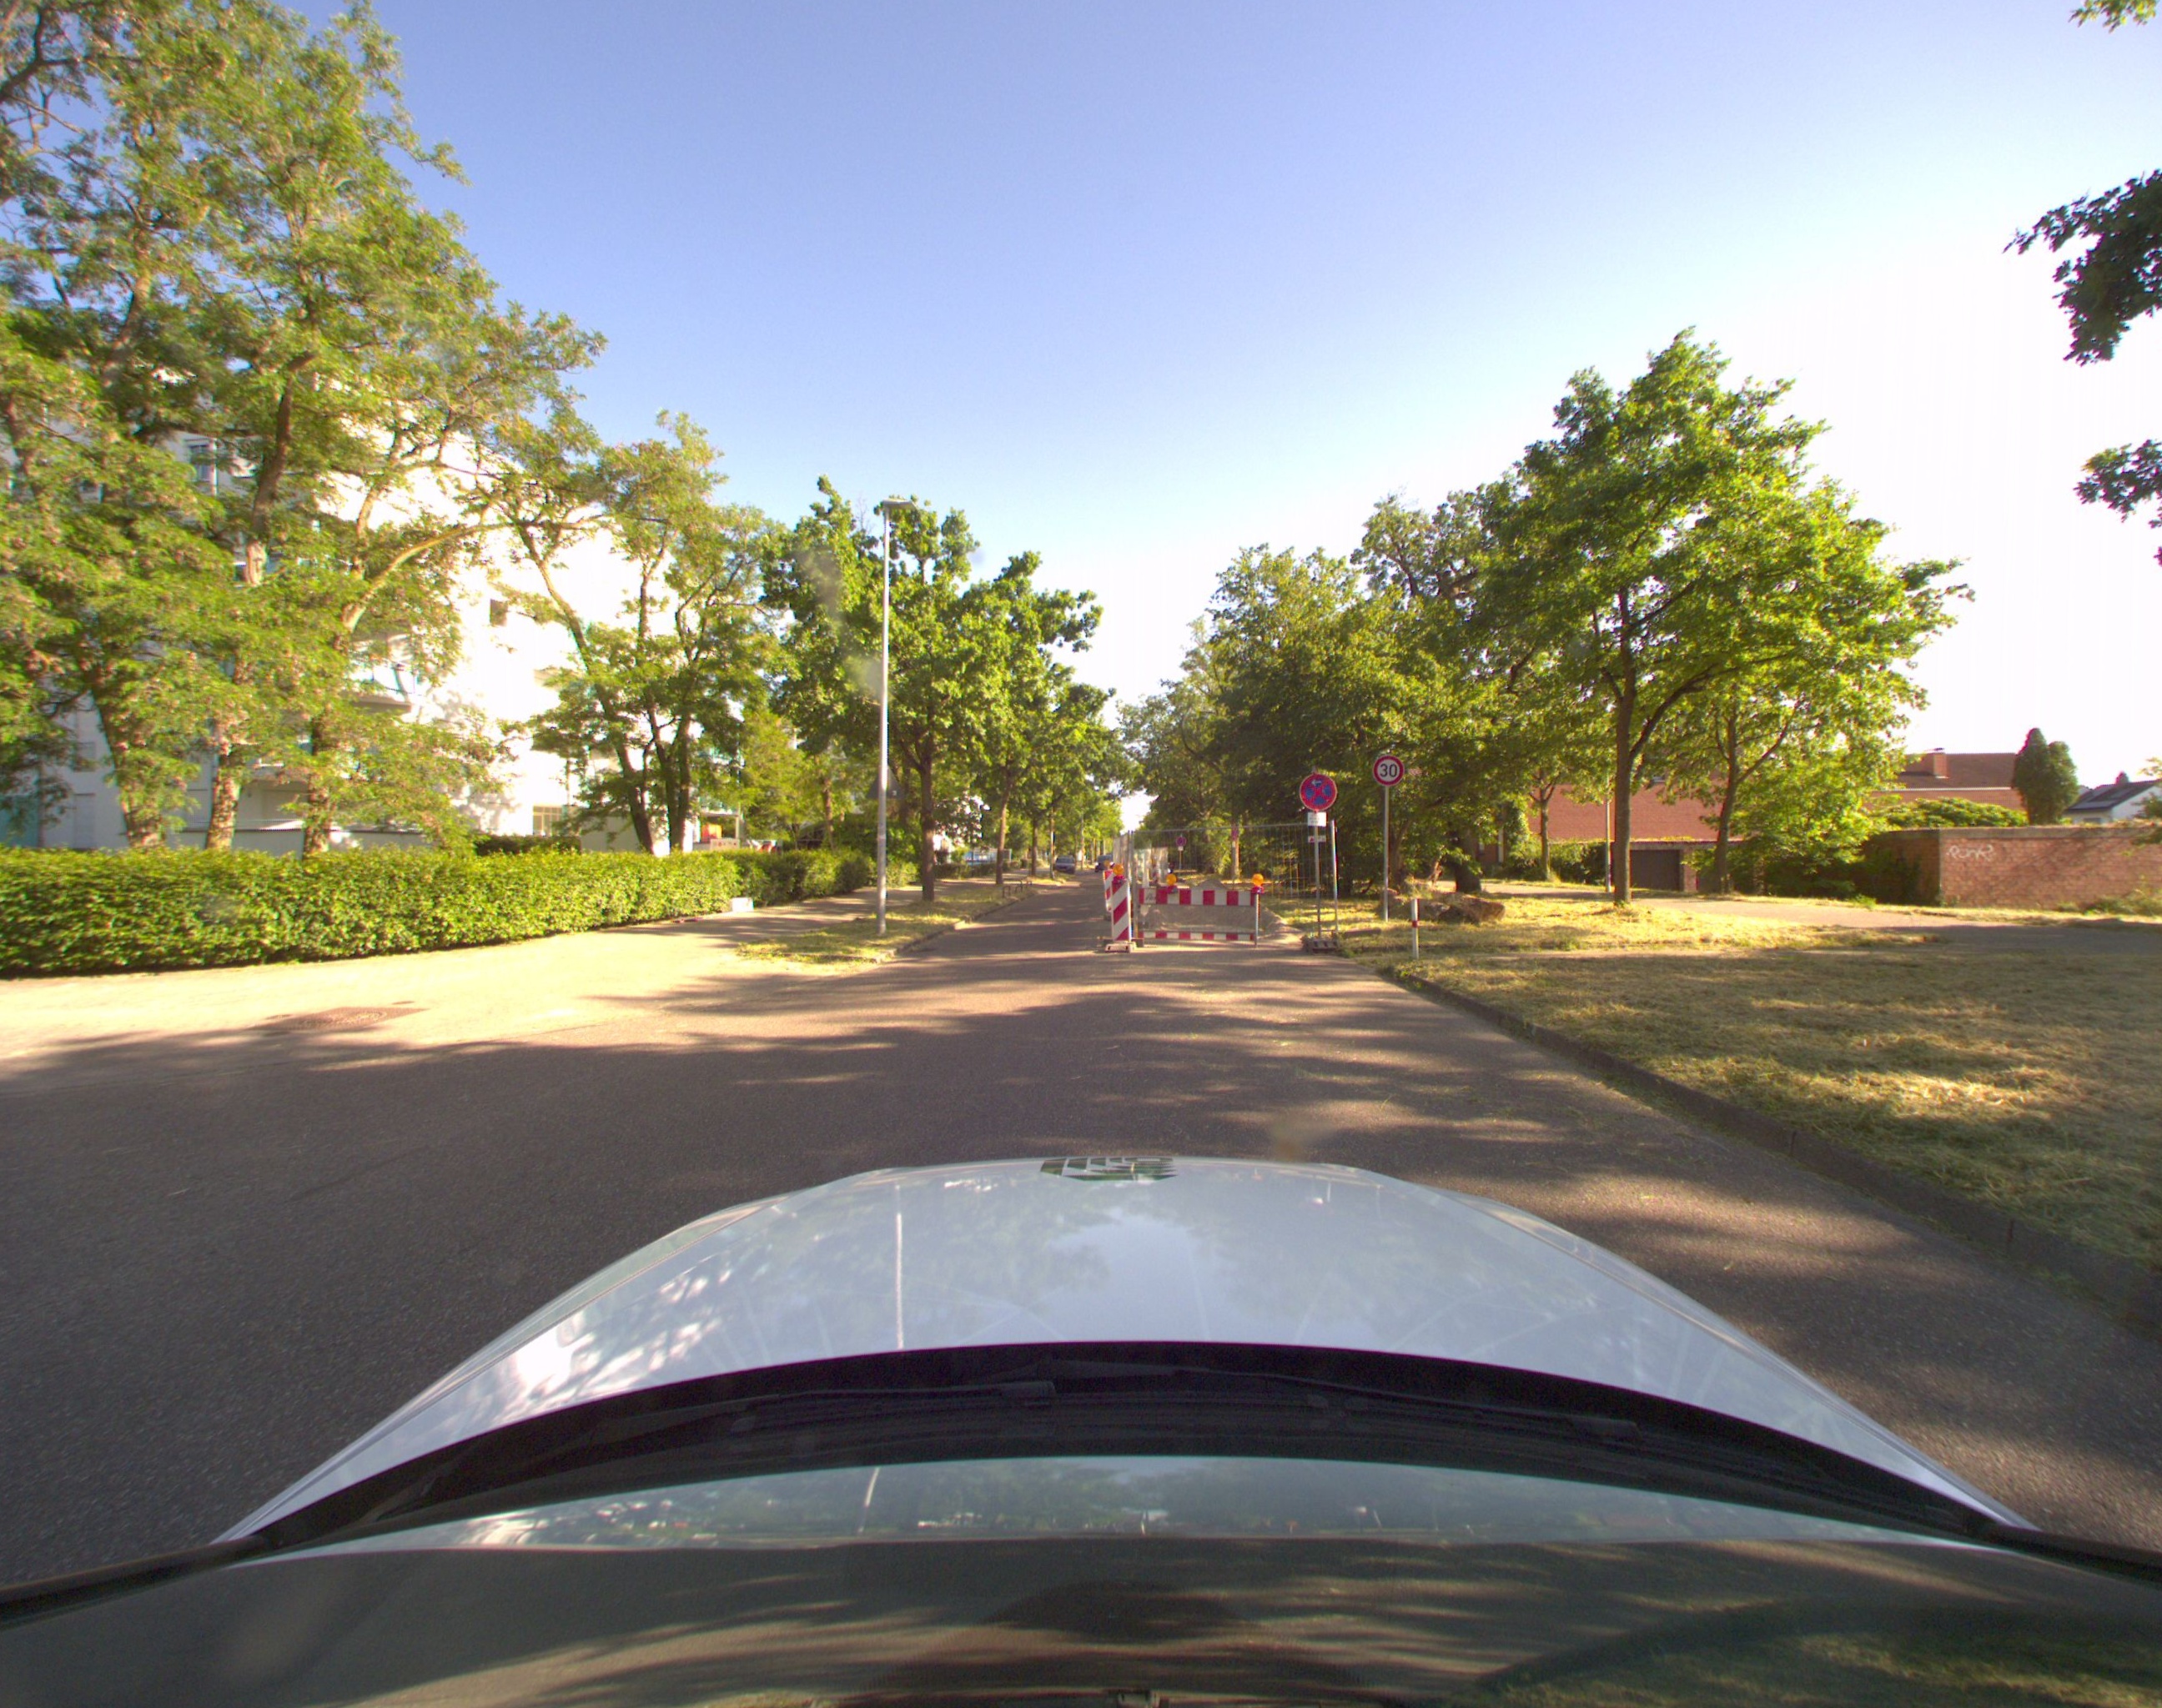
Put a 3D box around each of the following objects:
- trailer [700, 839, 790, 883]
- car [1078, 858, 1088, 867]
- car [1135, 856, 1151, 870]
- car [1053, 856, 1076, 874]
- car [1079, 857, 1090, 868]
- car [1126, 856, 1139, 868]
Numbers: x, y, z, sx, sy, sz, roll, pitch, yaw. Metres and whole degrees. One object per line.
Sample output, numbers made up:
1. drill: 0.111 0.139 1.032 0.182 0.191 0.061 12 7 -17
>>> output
1. trailer: -16.274 0.329 39.690 1.964 2.042 4.442 0 0 10
2. car: 0.336 1.239 115.410 1.356 1.302 3.481 1 -1 1
3. car: 5.887 0.891 77.864 1.356 1.302 3.481 1 -1 1
4. car: -1.365 0.892 68.396 1.744 1.478 3.838 0 0 2
5. car: 0.490 1.063 103.657 1.356 1.302 3.481 1 -1 1
6. car: 5.746 0.946 90.859 1.356 1.302 3.481 1 -1 1
